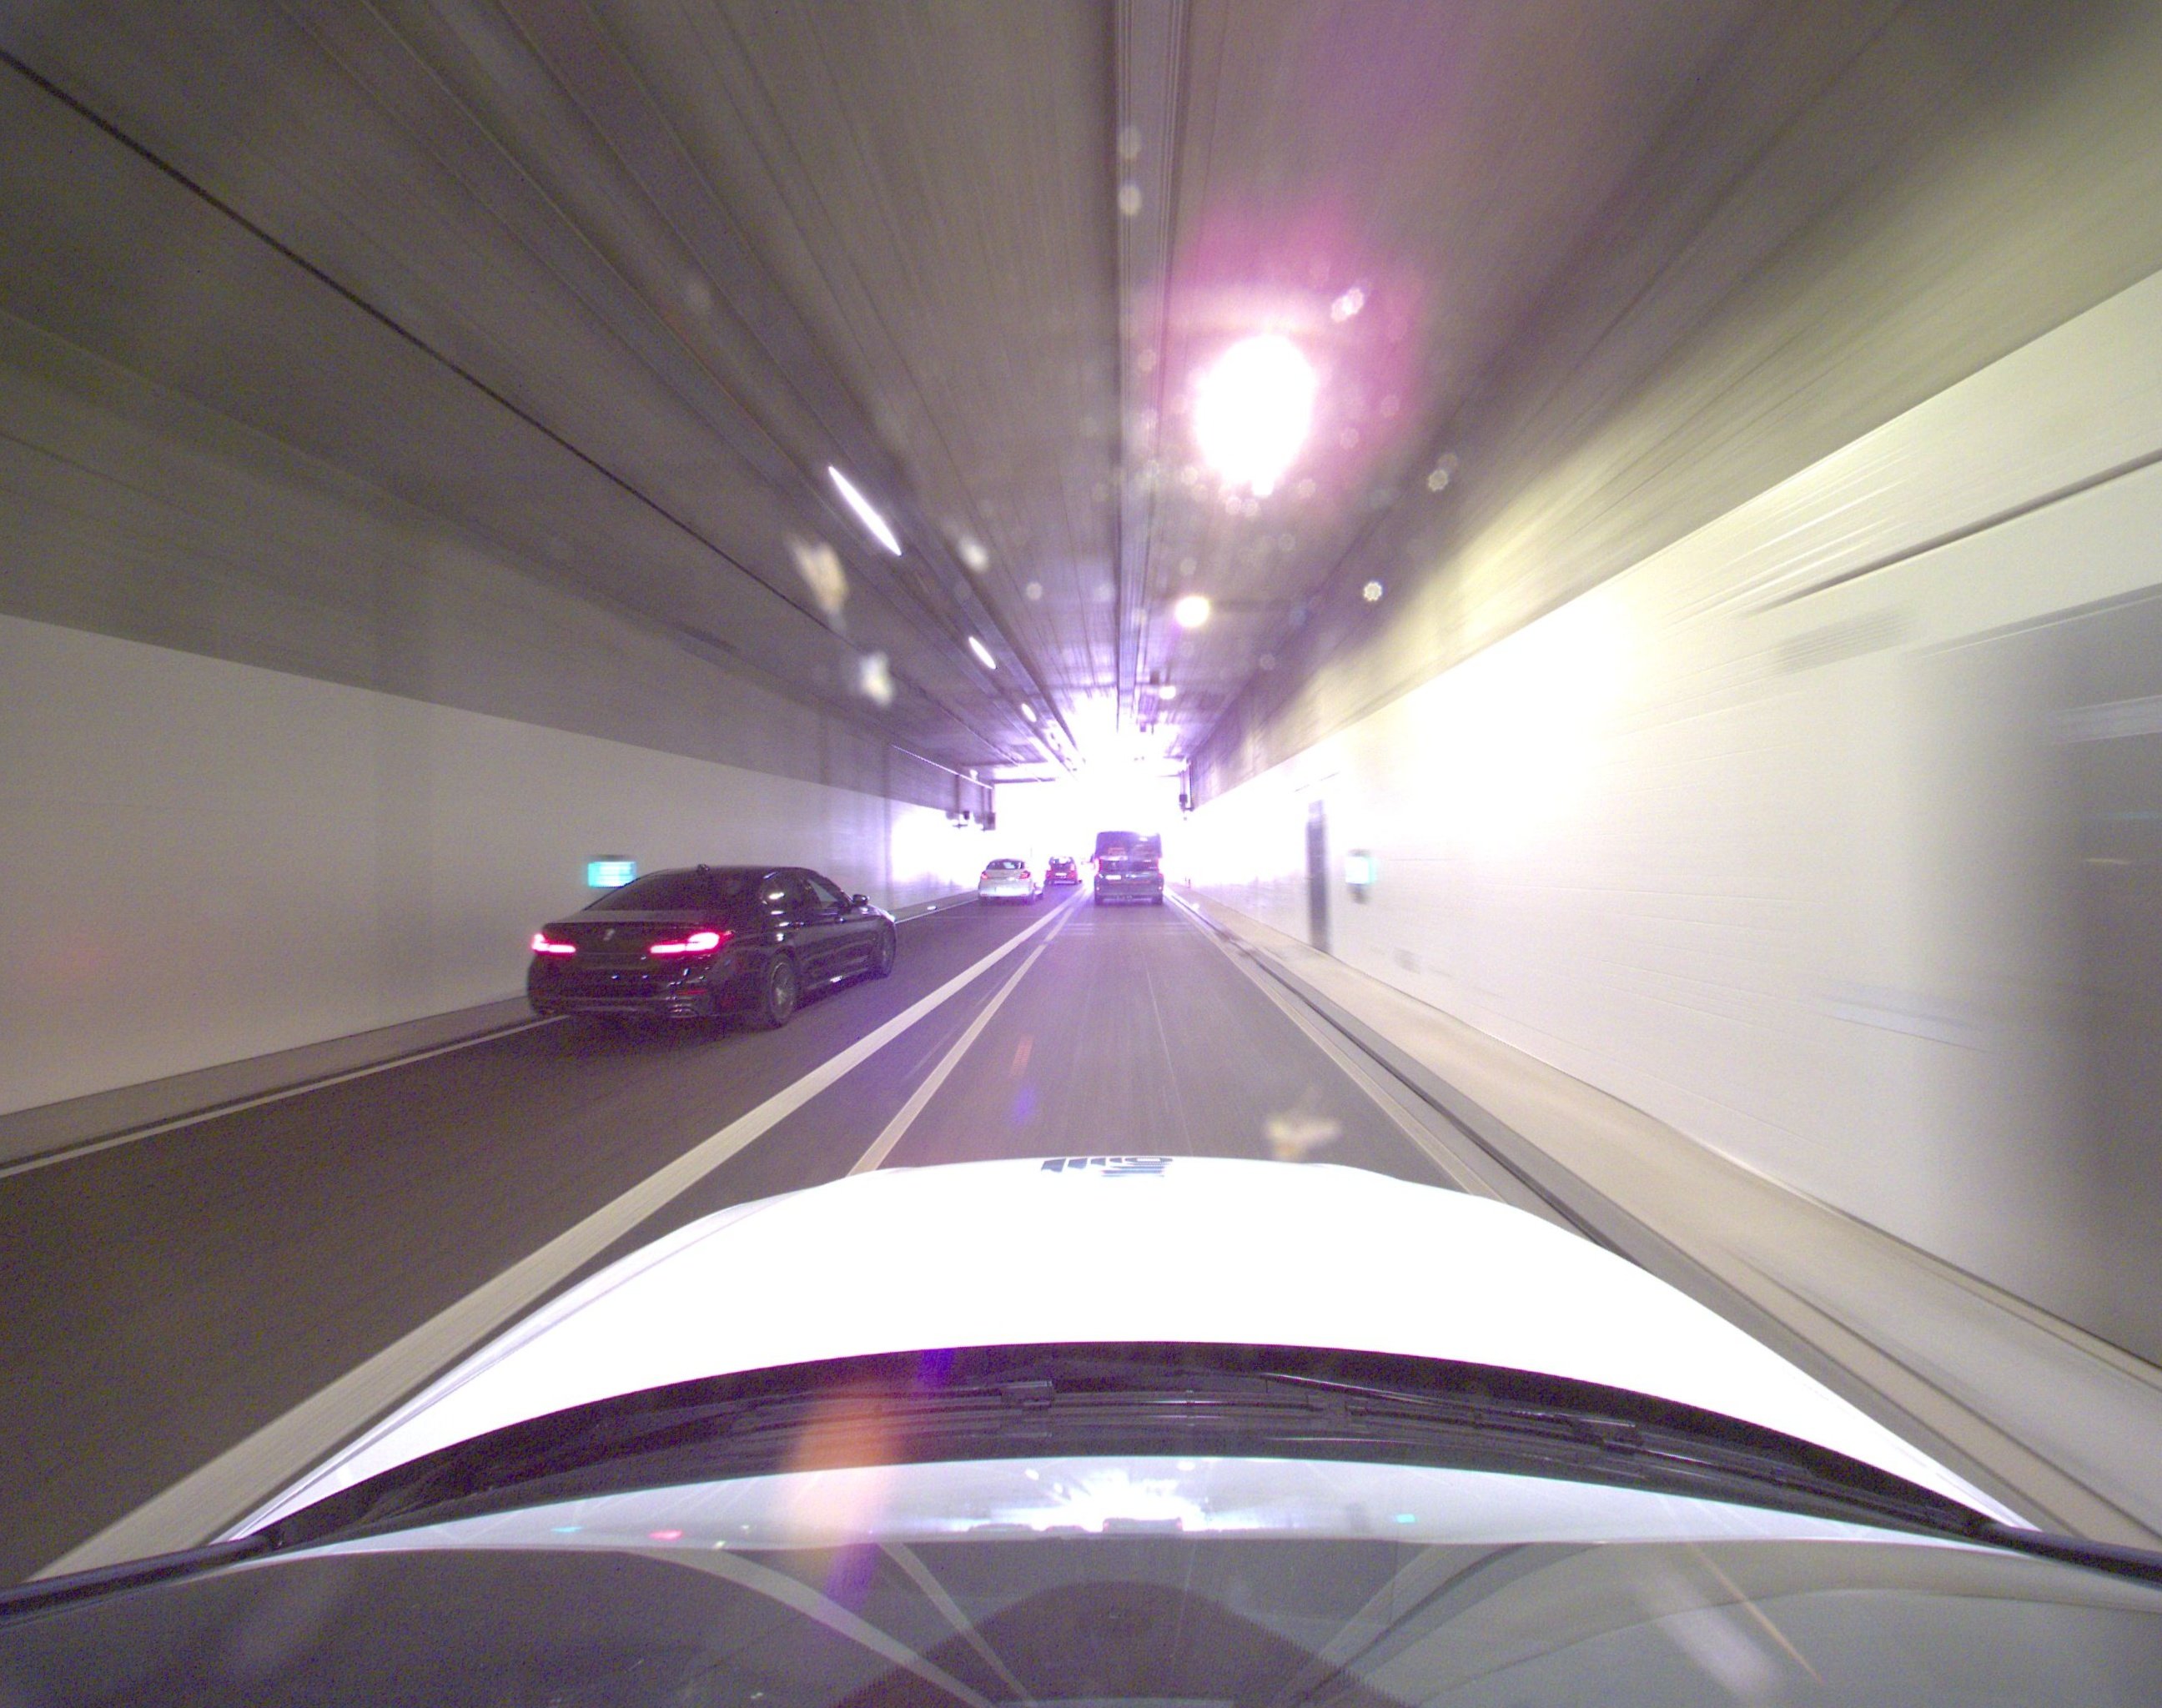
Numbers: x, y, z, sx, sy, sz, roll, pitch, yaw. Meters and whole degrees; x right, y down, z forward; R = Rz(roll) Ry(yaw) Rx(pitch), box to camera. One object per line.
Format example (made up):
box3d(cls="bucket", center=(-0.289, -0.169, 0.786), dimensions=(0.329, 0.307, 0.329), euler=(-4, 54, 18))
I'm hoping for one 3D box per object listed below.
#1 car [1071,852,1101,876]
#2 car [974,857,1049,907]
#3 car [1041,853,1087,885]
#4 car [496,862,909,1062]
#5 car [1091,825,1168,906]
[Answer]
box3d(cls="car", center=(0.375, 0.712, 56.035), dimensions=(1.869, 1.582, 4.223), euler=(0, -1, 3))
box3d(cls="car", center=(-2.118, 0.817, 25.737), dimensions=(1.701, 1.413, 3.979), euler=(-1, 0, 4))
box3d(cls="car", center=(-0.795, 0.703, 40.520), dimensions=(1.806, 1.512, 4.227), euler=(0, 0, 5))
box3d(cls="car", center=(-3.372, 0.831, 8.550), dimensions=(1.688, 1.422, 4.858), euler=(1, 0, 5))
box3d(cls="car", center=(1.508, 0.309, 25.381), dimensions=(2.149, 2.265, 4.641), euler=(-1, 1, 3))
